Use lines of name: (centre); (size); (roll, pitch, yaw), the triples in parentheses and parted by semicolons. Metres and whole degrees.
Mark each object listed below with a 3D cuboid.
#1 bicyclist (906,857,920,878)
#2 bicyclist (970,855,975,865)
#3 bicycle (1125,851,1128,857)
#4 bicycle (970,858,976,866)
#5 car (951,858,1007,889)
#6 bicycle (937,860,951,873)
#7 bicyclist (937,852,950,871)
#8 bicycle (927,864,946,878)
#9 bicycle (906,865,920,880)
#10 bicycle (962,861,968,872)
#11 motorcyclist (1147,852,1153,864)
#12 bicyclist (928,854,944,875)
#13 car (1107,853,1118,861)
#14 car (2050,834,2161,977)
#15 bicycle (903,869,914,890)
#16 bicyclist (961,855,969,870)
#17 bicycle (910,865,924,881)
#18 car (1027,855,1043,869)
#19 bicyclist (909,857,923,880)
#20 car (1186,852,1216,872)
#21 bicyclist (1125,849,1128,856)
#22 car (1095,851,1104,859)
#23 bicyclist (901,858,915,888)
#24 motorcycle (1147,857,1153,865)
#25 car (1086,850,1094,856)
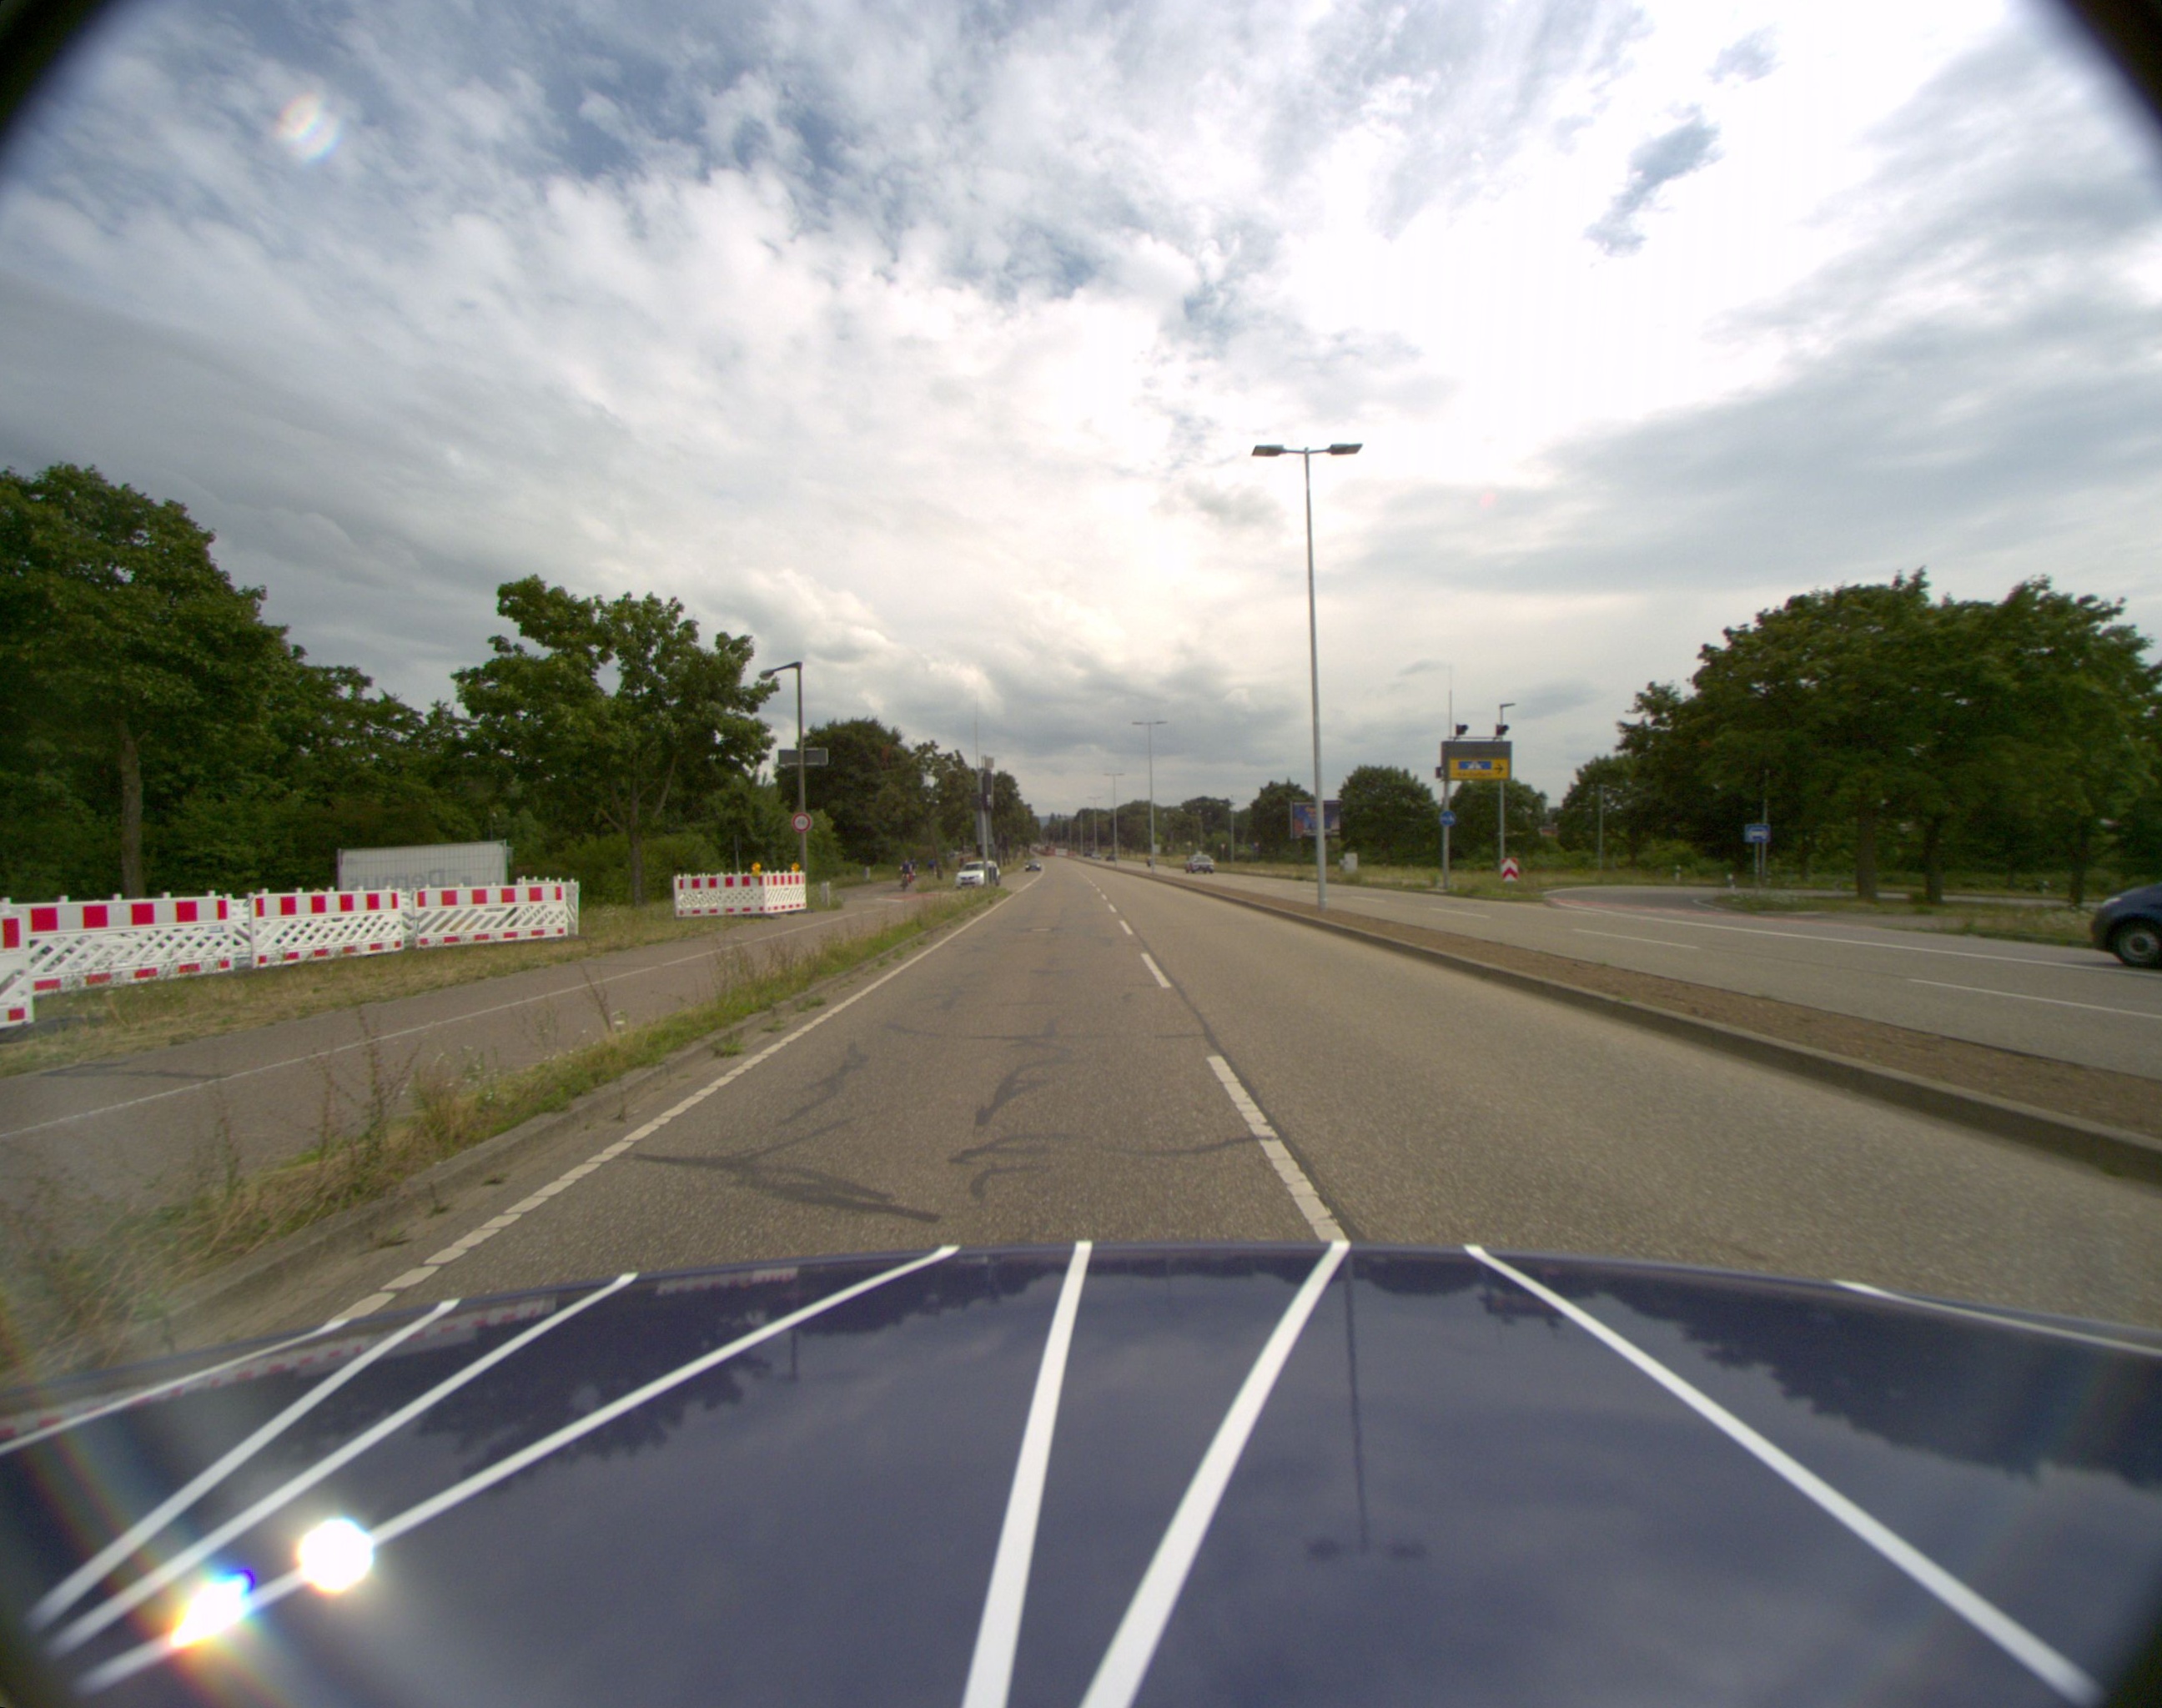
bicyclist: (-12.440, 0.988, 56.400); (0.743, 1.478, 0.958); (-2, 1, 1)
bicyclist: (-13.597, 0.737, 95.455); (0.540, 1.275, 0.449); (-2, 1, -3)
bicycle: (12.176, -0.047, 203.222); (0.537, 1.414, 2.166); (0, 1, -3)
bicycle: (-13.585, 1.010, 95.447); (0.515, 0.958, 1.781); (0, 1, -3)
car: (-5.761, 1.081, 43.376); (1.850, 1.493, 4.003); (-4, 1, 11)
bicycle: (-10.883, 0.982, 60.369); (0.621, 1.000, 1.788); (1, 1, 6)
bicyclist: (-10.906, 0.607, 60.184); (0.742, 1.465, 0.806); (-2, 1, 7)
bicycle: (-10.848, 1.279, 57.101); (0.596, 1.030, 2.197); (-1, 0, 12)
bicycle: (-12.460, 1.348, 56.433); (0.621, 1.000, 1.786); (1, 3, 1)
bicycle: (-12.910, 1.344, 84.598); (0.515, 1.141, 2.230); (0, 1, -3)
motorcyclist: (9.239, 0.495, 101.556); (0.772, 1.579, 0.896); (0, 0, -2)
bicyclist: (-10.871, 0.811, 56.993); (0.742, 1.509, 0.959); (-2, 1, 13)
car: (6.407, 0.626, 155.919); (1.773, 1.523, 4.739); (0, 0, -3)
car: (15.002, 0.707, 8.361); (1.851, 1.883, 5.506); (2, 0, 5)
bicycle: (-9.836, 1.456, 43.283); (0.575, 1.141, 1.980); (0, 0, -11)
bicyclist: (-12.930, 0.932, 84.698); (0.653, 1.648, 0.780); (-2, 1, -3)
bicycle: (-11.401, 1.316, 52.882); (0.621, 1.000, 2.101); (1, 2, -3)
car: (-5.389, 0.915, 88.668); (1.773, 1.439, 4.322); (-1, 0, -4)
bicyclist: (-11.417, 0.988, 52.713); (0.743, 1.509, 0.958); (-2, 1, -3)
car: (10.419, 0.669, 66.223); (1.852, 1.592, 4.560); (0, 0, -1)
bicyclist: (12.203, -0.427, 203.186); (0.645, 1.821, 0.818); (0, 1, -3)
car: (4.309, 0.233, 179.720); (1.773, 1.644, 4.637); (1, 0, -3)
bicyclist: (-9.862, 1.075, 43.316); (0.654, 1.648, 0.875); (-3, 1, -12)
motorcycle: (9.196, 0.934, 101.454); (0.524, 0.961, 2.219); (-1, 0, -2)
car: (2.382, -0.311, 204.450); (1.852, 1.644, 4.562); (0, 1, -3)
